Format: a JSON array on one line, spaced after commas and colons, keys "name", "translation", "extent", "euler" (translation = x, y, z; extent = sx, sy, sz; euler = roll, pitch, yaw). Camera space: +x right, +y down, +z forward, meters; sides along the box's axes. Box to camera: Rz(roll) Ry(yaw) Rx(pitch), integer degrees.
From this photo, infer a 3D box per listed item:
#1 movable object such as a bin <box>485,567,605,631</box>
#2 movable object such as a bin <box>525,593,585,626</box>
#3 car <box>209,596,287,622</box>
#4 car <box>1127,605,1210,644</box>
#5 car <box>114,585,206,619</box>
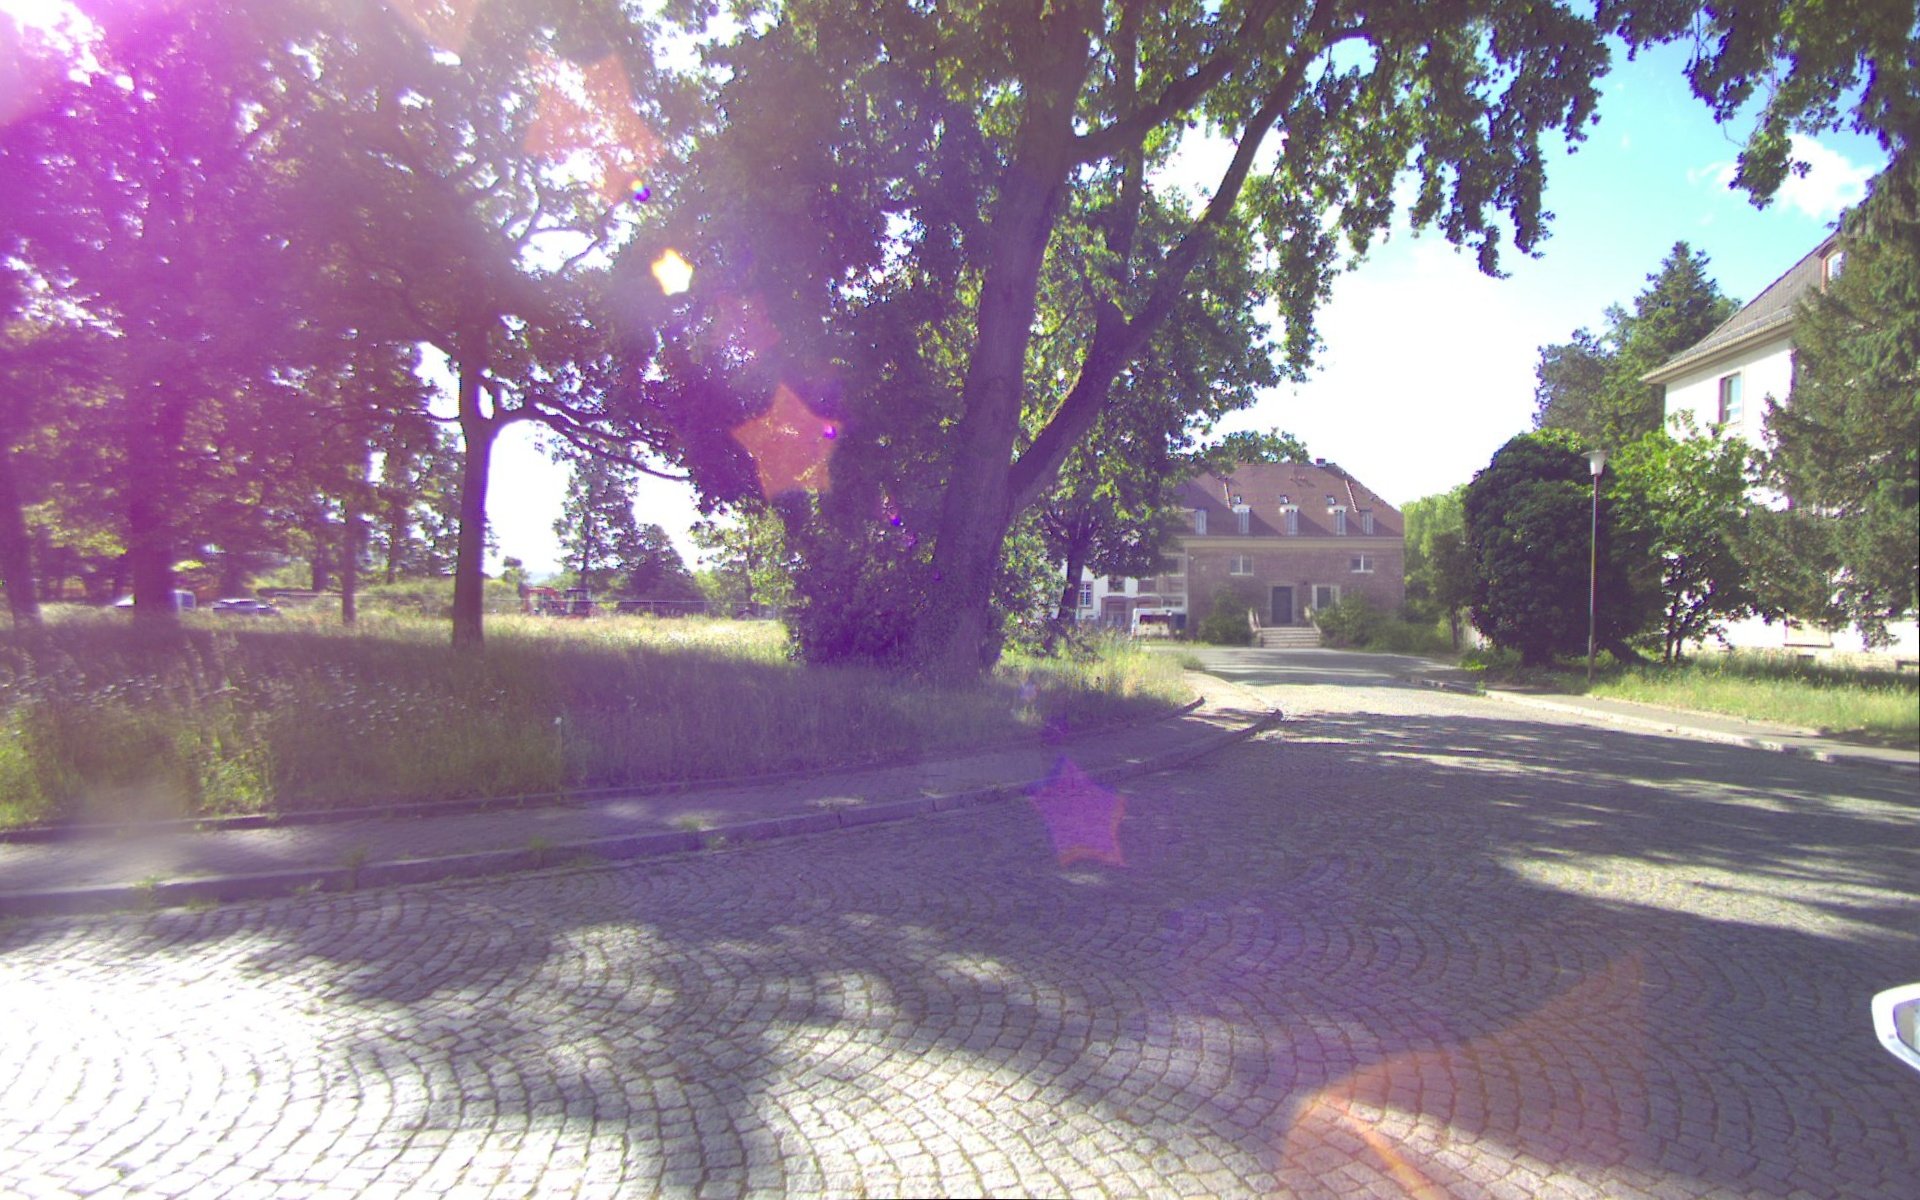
[{"name": "movable object such as a bin", "translation": [-26.533, -0.021, 64.610], "extent": [6.683, 3.780, 3.916], "euler": [2, -1, -18]}, {"name": "movable object such as a bin", "translation": [-28.301, 0.675, 70.062], "extent": [2.505, 2.153, 5.619], "euler": [2, -1, -37]}, {"name": "car", "translation": [-48.243, 0.636, 68.196], "extent": [1.874, 1.626, 4.245], "euler": [1, -1, 8]}, {"name": "car", "translation": [13.689, 1.605, 66.248], "extent": [5.169, 2.469, 1.992], "euler": [1, -1, 7]}, {"name": "car", "translation": [-54.625, 0.206, 68.693], "extent": [1.917, 2.193, 4.865], "euler": [1, -1, 8]}]
